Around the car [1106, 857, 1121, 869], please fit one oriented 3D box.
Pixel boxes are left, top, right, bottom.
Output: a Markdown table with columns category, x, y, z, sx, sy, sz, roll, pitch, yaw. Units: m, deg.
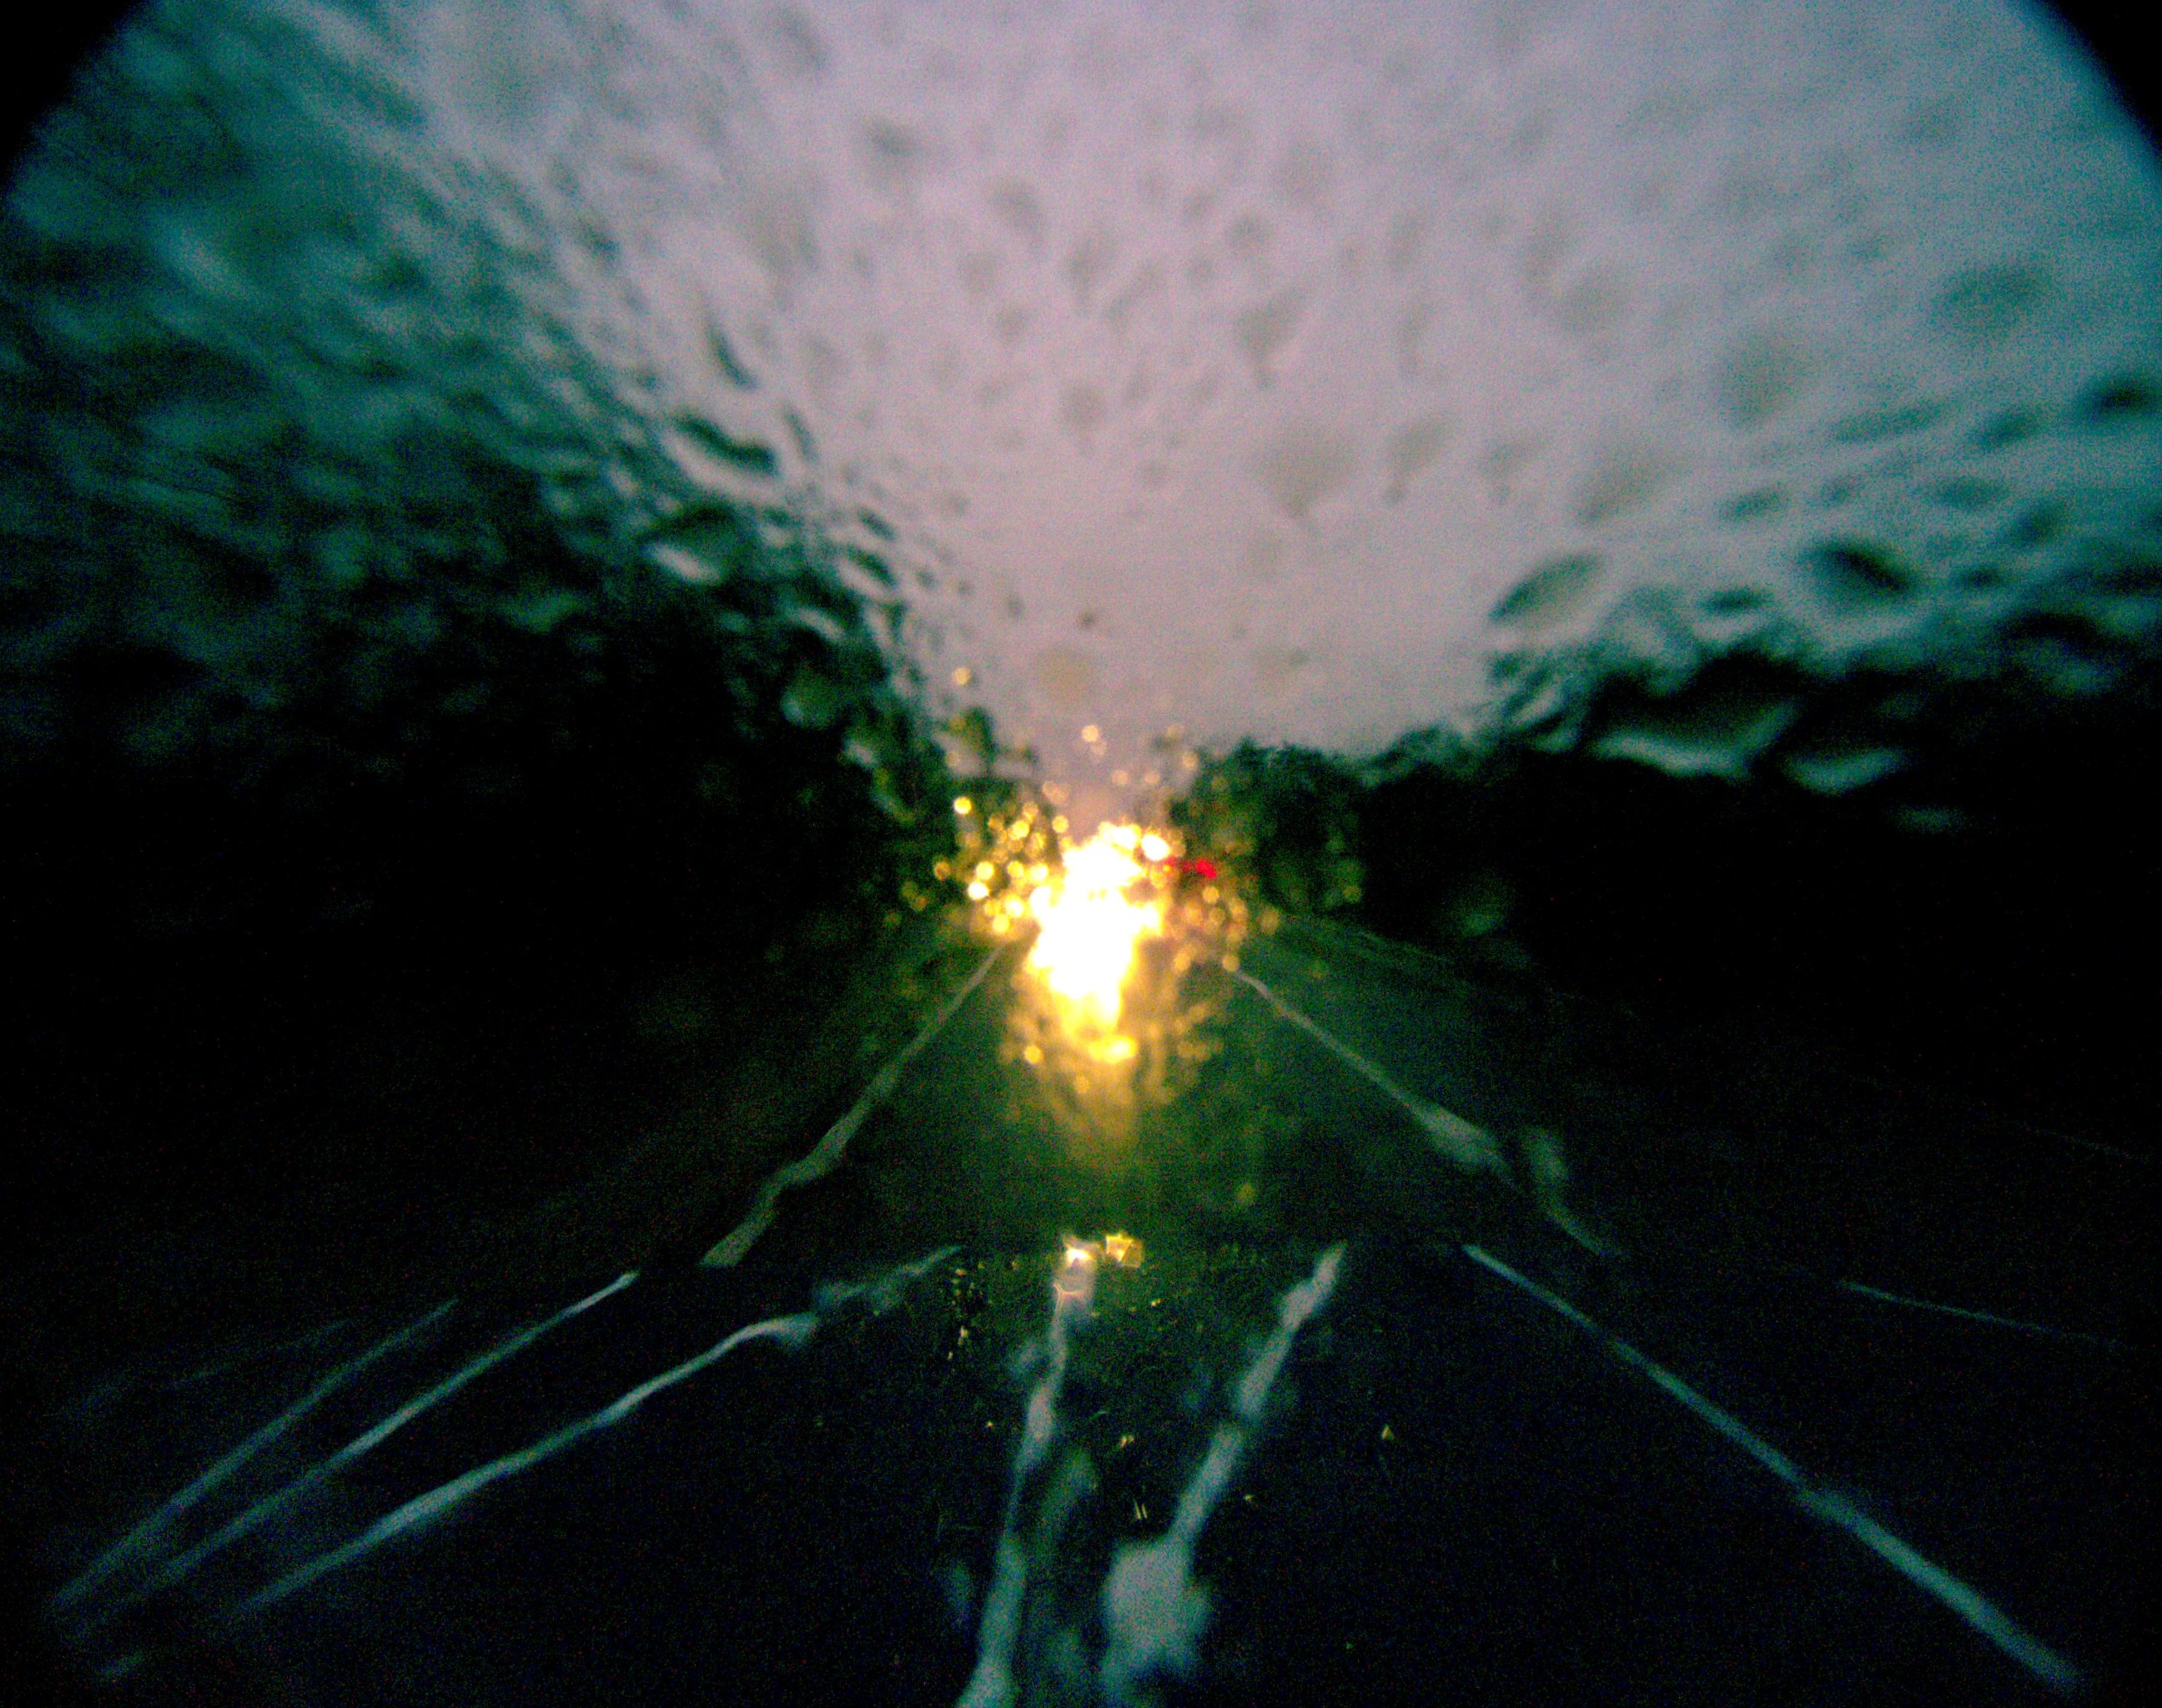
| category | x | y | z | sx | sy | sz | roll | pitch | yaw |
| --- | --- | --- | --- | --- | --- | --- | --- | --- | --- |
| car | 4.259 | 1.172 | 100.732 | 1.809 | 1.478 | 4.000 | 1 | 0 | 0 |

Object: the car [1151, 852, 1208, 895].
| category | x | y | z | sx | sy | sz | roll | pitch | yaw |
| --- | --- | --- | --- | --- | --- | --- | --- | --- | --- |
| car | 3.926 | 0.744 | 30.986 | 1.771 | 1.589 | 3.999 | 1 | 0 | 0 |

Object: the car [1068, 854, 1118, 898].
| category | x | y | z | sx | sy | sz | roll | pitch | yaw |
| --- | --- | --- | --- | --- | --- | --- | --- | --- | --- |
| car | 0.476 | 0.820 | 30.677 | 1.860 | 1.604 | 4.000 | -1 | 0 | 0 |
